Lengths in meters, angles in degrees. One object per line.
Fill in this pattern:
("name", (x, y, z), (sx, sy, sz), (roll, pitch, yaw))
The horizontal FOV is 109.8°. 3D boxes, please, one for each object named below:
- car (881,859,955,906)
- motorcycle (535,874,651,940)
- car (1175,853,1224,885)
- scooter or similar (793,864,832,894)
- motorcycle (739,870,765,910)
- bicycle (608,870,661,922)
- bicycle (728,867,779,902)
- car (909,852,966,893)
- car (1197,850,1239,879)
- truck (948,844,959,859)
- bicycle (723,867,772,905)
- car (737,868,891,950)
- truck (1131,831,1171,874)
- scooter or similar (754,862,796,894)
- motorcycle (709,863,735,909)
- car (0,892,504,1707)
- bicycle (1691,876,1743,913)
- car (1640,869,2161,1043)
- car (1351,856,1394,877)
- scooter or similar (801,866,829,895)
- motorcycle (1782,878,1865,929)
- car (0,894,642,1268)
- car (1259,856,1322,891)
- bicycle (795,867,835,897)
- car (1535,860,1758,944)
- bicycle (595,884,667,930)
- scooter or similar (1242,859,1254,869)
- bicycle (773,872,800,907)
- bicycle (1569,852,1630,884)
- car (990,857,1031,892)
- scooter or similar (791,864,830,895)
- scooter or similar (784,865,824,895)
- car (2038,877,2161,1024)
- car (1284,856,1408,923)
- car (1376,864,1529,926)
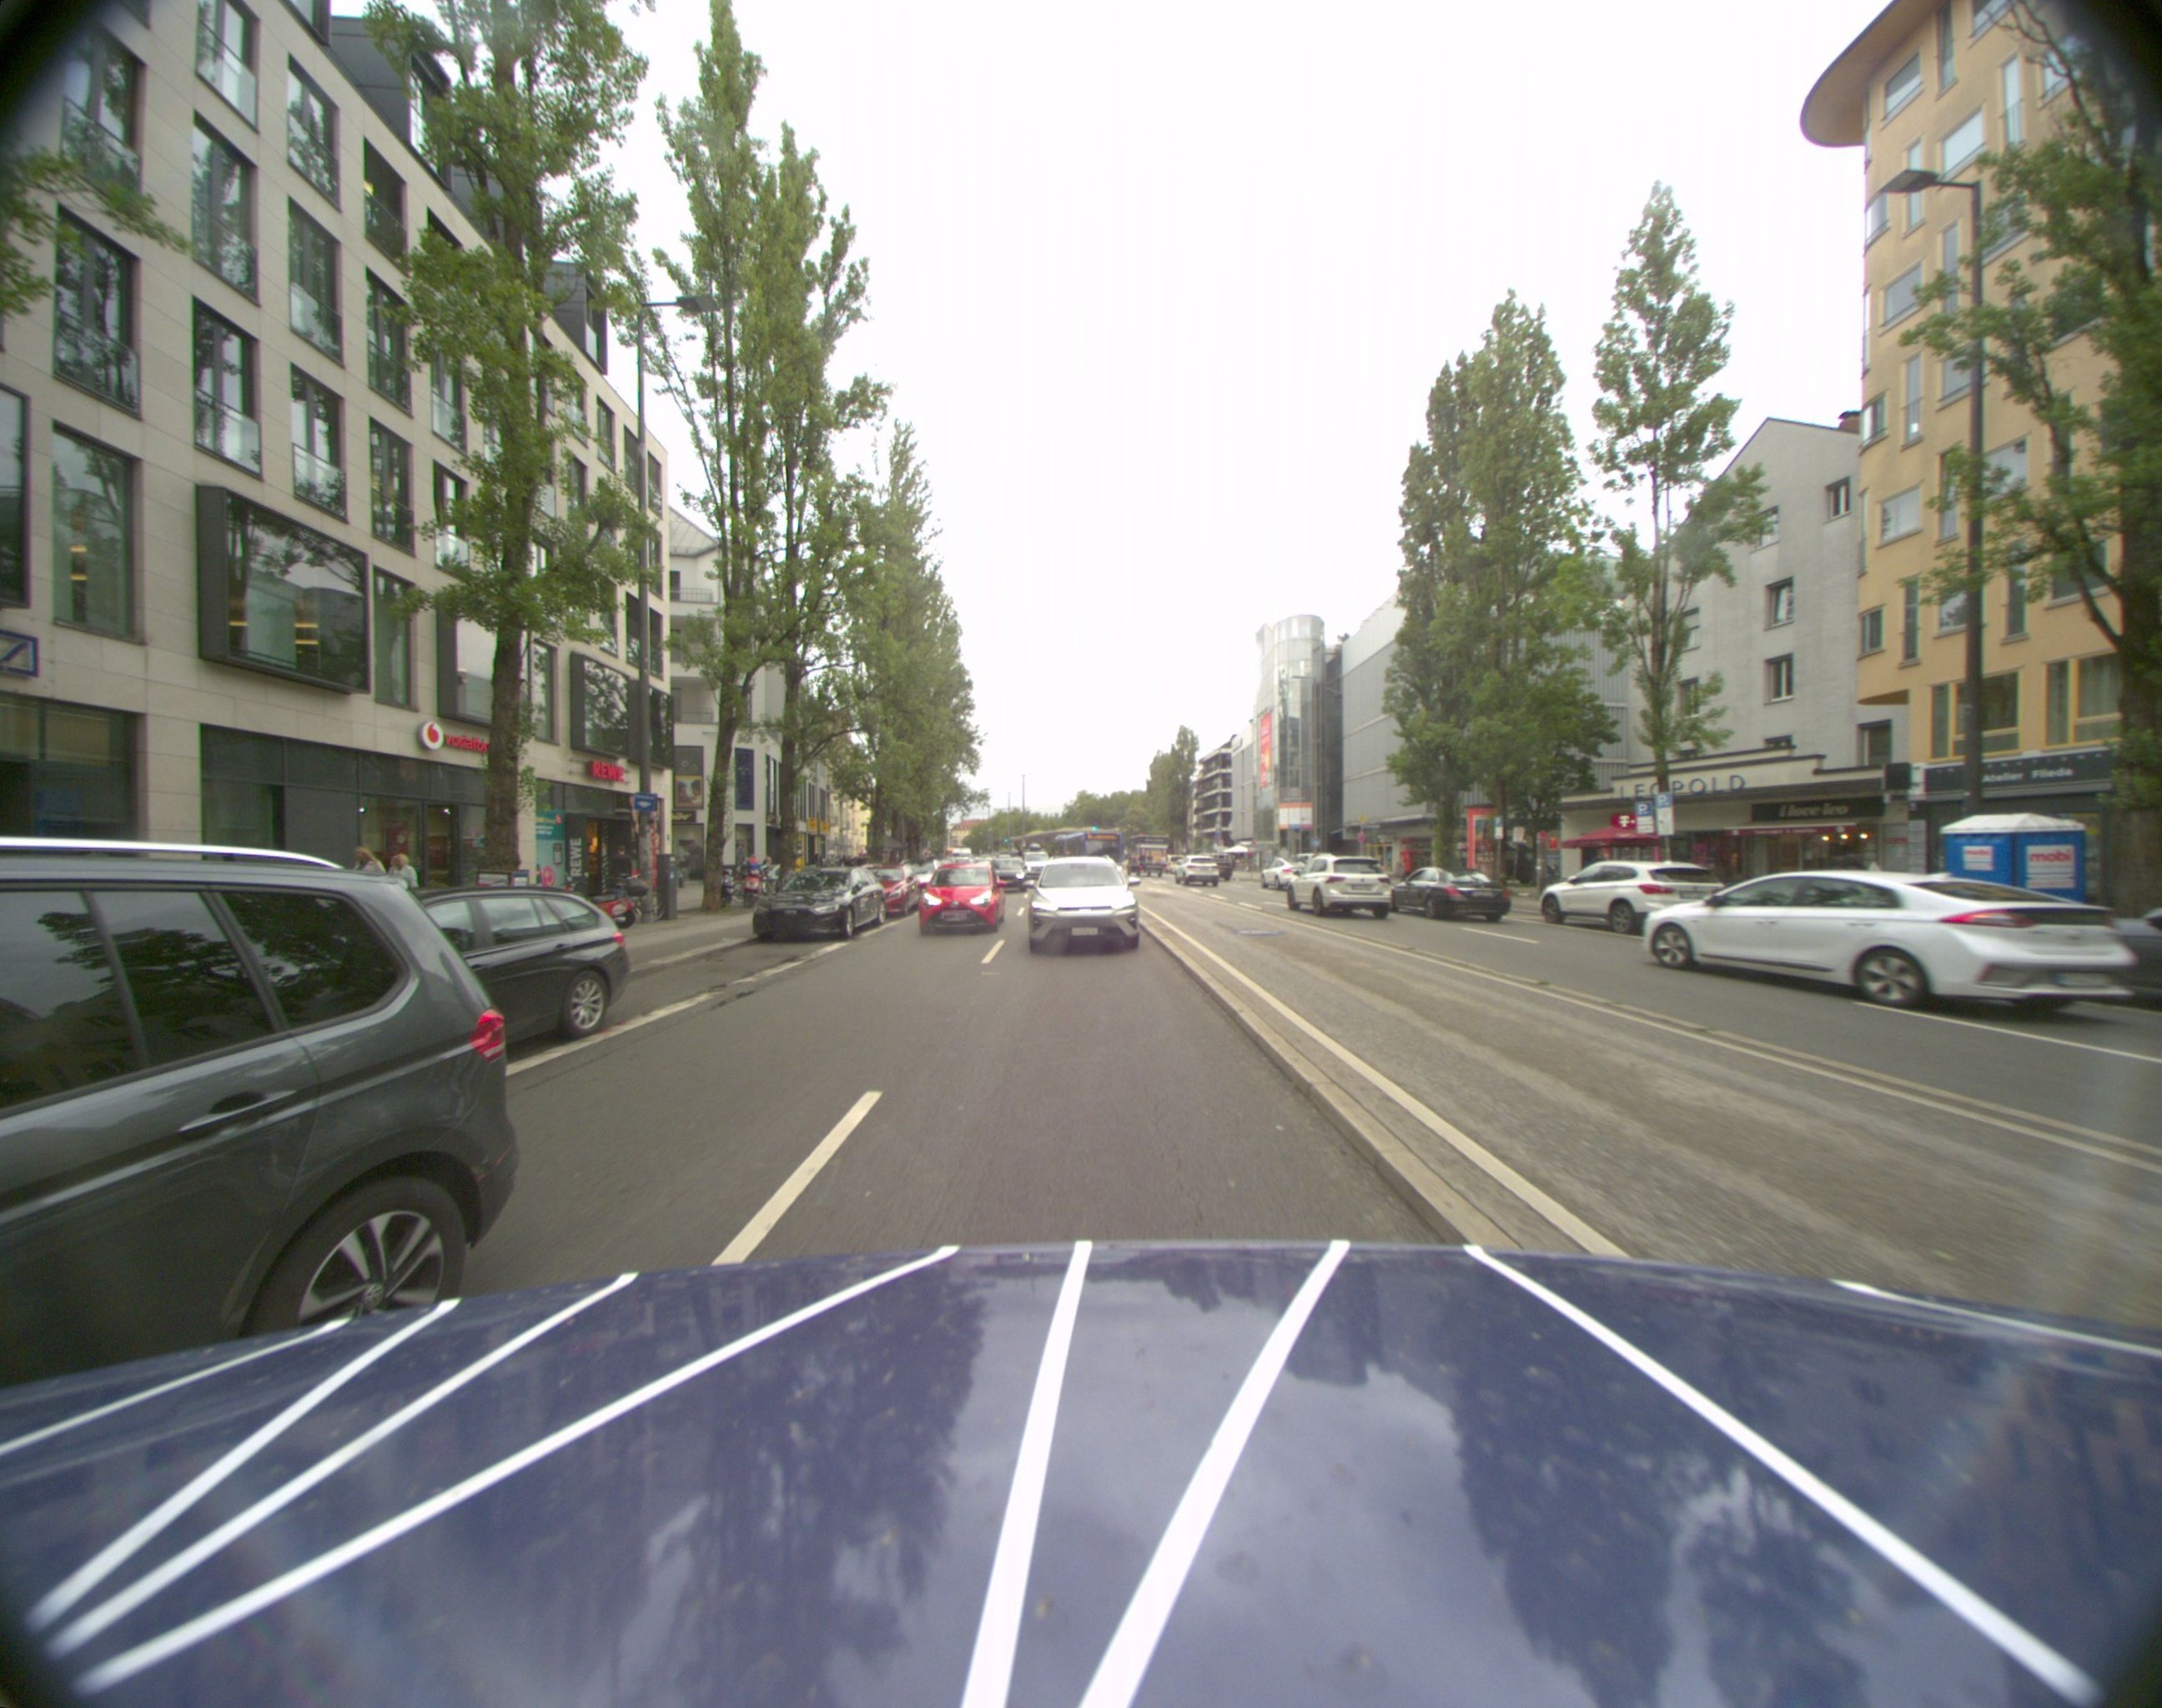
("car", (-5.793, 0.976, 27.524), (1.815, 1.491, 4.804), (0, 0, -2))
("motorcycle", (-10.037, 1.056, 15.671), (1.978, 1.244, 0.638), (0, 1, -34))
("car", (6.579, 0.783, 42.753), (1.865, 1.701, 4.535), (1, 0, -2))
("scooter or similar", (-10.779, 1.011, 30.485), (1.439, 1.194, 0.311), (0, 1, -7))
("motorcycle", (-10.033, 1.078, 23.154), (0.689, 1.149, 1.640), (0, 0, -26))
("bicycle", (-11.034, 1.014, 18.814), (0.456, 1.181, 1.714), (0, 0, -6))
("bicycle", (-11.610, 1.070, 26.925), (1.764, 1.165, 0.452), (0, 1, 15))
("car", (-6.648, 0.816, 35.601), (1.930, 1.690, 4.648), (-2, 1, -2))
("car", (9.658, 0.704, 54.179), (1.998, 1.852, 5.711), (2, 0, 1))
("truck", (-30.237, -0.560, 180.085), (2.543, 3.468, 7.743), (0, 0, -11))
("bicycle", (-11.038, 1.035, 25.179), (0.546, 1.182, 1.457), (1, 1, 31))
("car", (-5.531, 1.065, 16.407), (1.852, 1.420, 4.424), (0, 0, -2))
("truck", (5.624, -0.133, 62.064), (2.297, 3.303, 7.155), (1, 0, -2))
("scooter or similar", (-11.710, 0.930, 29.083), (1.388, 1.204, 0.554), (0, 1, -1))
("motorcycle", (-11.063, 0.956, 23.414), (0.689, 1.348, 1.640), (0, 0, -26))
("car", (-2.936, 0.963, 0.537), (1.765, 1.604, 4.183), (-1, 0, 1))
("bicycle", (18.315, 1.150, 21.901), (0.293, 0.970, 1.479), (0, 0, 2))
("car", (9.328, 0.981, 9.104), (1.945, 1.485, 4.294), (0, 0, -3))
("car", (21.306, 0.881, 55.727), (1.926, 1.430, 4.510), (0, 0, 7))
("scooter or similar", (-11.223, 1.115, 32.073), (1.053, 1.219, 0.379), (0, 1, -6))
("motorcycle", (17.069, 1.128, 17.456), (2.064, 1.030, 0.485), (-2, 2, -19))
("car", (-5.355, 1.111, 5.539), (1.738, 1.386, 4.432), (0, 0, 0))
("car", (10.636, 0.926, 38.855), (1.998, 1.641, 4.636), (1, 0, 1))
("bicycle", (-10.832, 1.121, 30.956), (1.483, 1.200, 0.535), (0, 1, -7))
("car", (12.636, 0.986, 17.428), (1.998, 1.620, 4.382), (0, 0, 3))
("bicycle", (-10.311, 1.189, 17.479), (0.434, 0.935, 1.763), (1, 0, 7))
("scooter or similar", (17.732, 1.055, 80.561), (0.368, 1.133, 1.378), (0, 0, -30))
("bicycle", (-9.721, 1.153, 25.116), (0.644, 1.057, 1.769), (0, 0, -16))
("bicycle", (21.826, 0.560, 32.056), (0.849, 1.300, 2.302), (0, 0, -6))
("car", (-3.219, 0.888, 34.904), (1.741, 1.461, 4.048), (-1, 0, -5))
("scooter or similar", (-10.736, 1.006, 30.162), (1.439, 1.194, 0.311), (0, 1, -7))
("scooter or similar", (-10.841, 1.015, 29.751), (1.439, 1.194, 0.311), (0, 1, -7))
("car", (12.127, 1.029, 6.716), (1.944, 1.485, 4.296), (0, 0, 1))
("car", (7.199, 0.895, 21.178), (1.944, 1.632, 4.463), (0, 0, 1))
("car", (10.009, 1.033, 20.924), (1.944, 1.426, 4.538), (0, 0, -1))
